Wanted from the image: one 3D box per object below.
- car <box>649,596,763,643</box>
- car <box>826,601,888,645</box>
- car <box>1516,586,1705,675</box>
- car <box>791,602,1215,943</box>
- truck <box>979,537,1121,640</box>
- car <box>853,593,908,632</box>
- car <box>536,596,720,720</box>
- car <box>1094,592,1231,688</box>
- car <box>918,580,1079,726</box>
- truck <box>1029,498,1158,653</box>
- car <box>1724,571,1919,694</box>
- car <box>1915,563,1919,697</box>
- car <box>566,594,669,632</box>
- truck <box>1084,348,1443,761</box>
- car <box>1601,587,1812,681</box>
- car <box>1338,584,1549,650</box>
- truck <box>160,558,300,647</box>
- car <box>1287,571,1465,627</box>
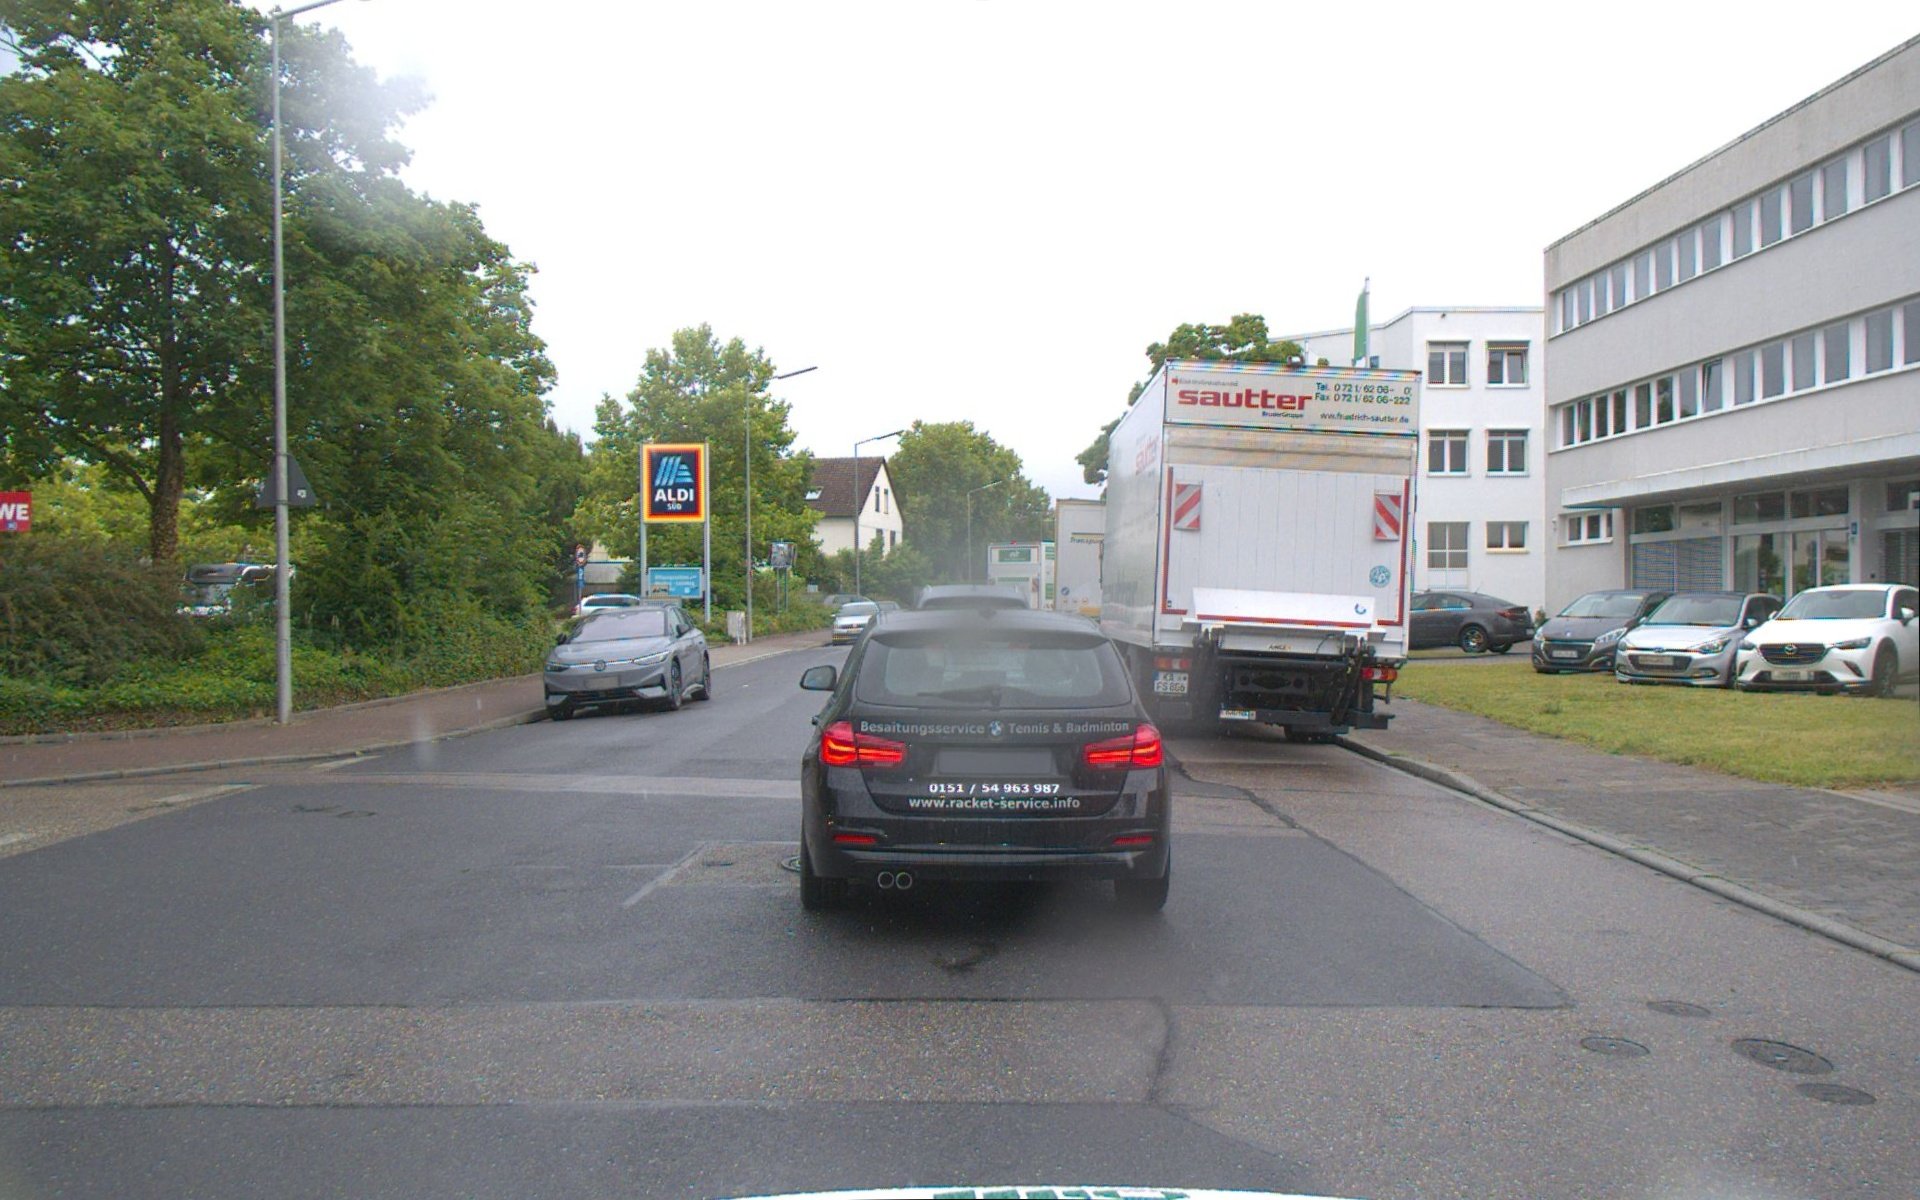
[{"bbox_3d":[-8.547,0.643,55.888,3.495,1.485,1.713,1,0,2],"label":"car"},{"bbox_3d":[-3.559,0.772,58.029,1.670,1.391,4.602,-3,0,2],"label":"car"},{"bbox_3d":[11.242,0.487,28.481,1.678,1.417,3.740,0,0,45],"label":"car"},{"bbox_3d":[0.129,0.733,8.921,1.768,1.419,3.998,0,0,-2],"label":"car"},{"bbox_3d":[3.318,-0.483,58.440,2.295,3.313,7.747,3,3,24],"label":"truck"},{"bbox_3d":[-3.064,0.465,64.395,1.670,1.391,3.840,-3,0,3],"label":"car"},{"bbox_3d":[-4.890,0.795,24.997,1.772,1.555,4.747,-4,0,-1],"label":"car"},{"bbox_3d":[3.328,0.618,27.960,1.760,1.466,4.344,-1,0,0],"label":"car"},{"bbox_3d":[0.380,0.597,20.420,1.768,1.614,3.998,0,0,-2],"label":"car"},{"bbox_3d":[3.404,-0.612,43.978,2.685,3.674,7.749,2,0,0],"label":"truck"},{"bbox_3d":[11.887,0.384,22.169,1.746,1.496,3.971,0,0,45],"label":"car"},{"bbox_3d":[13.102,0.324,19.927,1.842,1.554,3.971,0,0,45],"label":"car"},{"bbox_3d":[-14.414,0.534,69.702,3.904,1.567,1.911,0,0,1],"label":"car"},{"bbox_3d":[3.256,-0.452,20.499,2.685,3.855,9.299,2,0,0],"label":"truck"},{"bbox_3d":[11.538,0.469,25.438,1.678,1.309,3.971,0,0,45],"label":"car"},{"bbox_3d":[11.649,0.398,40.032,4.586,1.493,1.783,0,0,38],"label":"car"},{"bbox_3d":[-24.499,0.077,55.827,1.953,2.801,6.466,-1,0,-1],"label":"truck"},{"bbox_3d":[15.945,-0.021,63.530,6.326,2.049,1.998,0,-1,-5],"label":"car"}]
